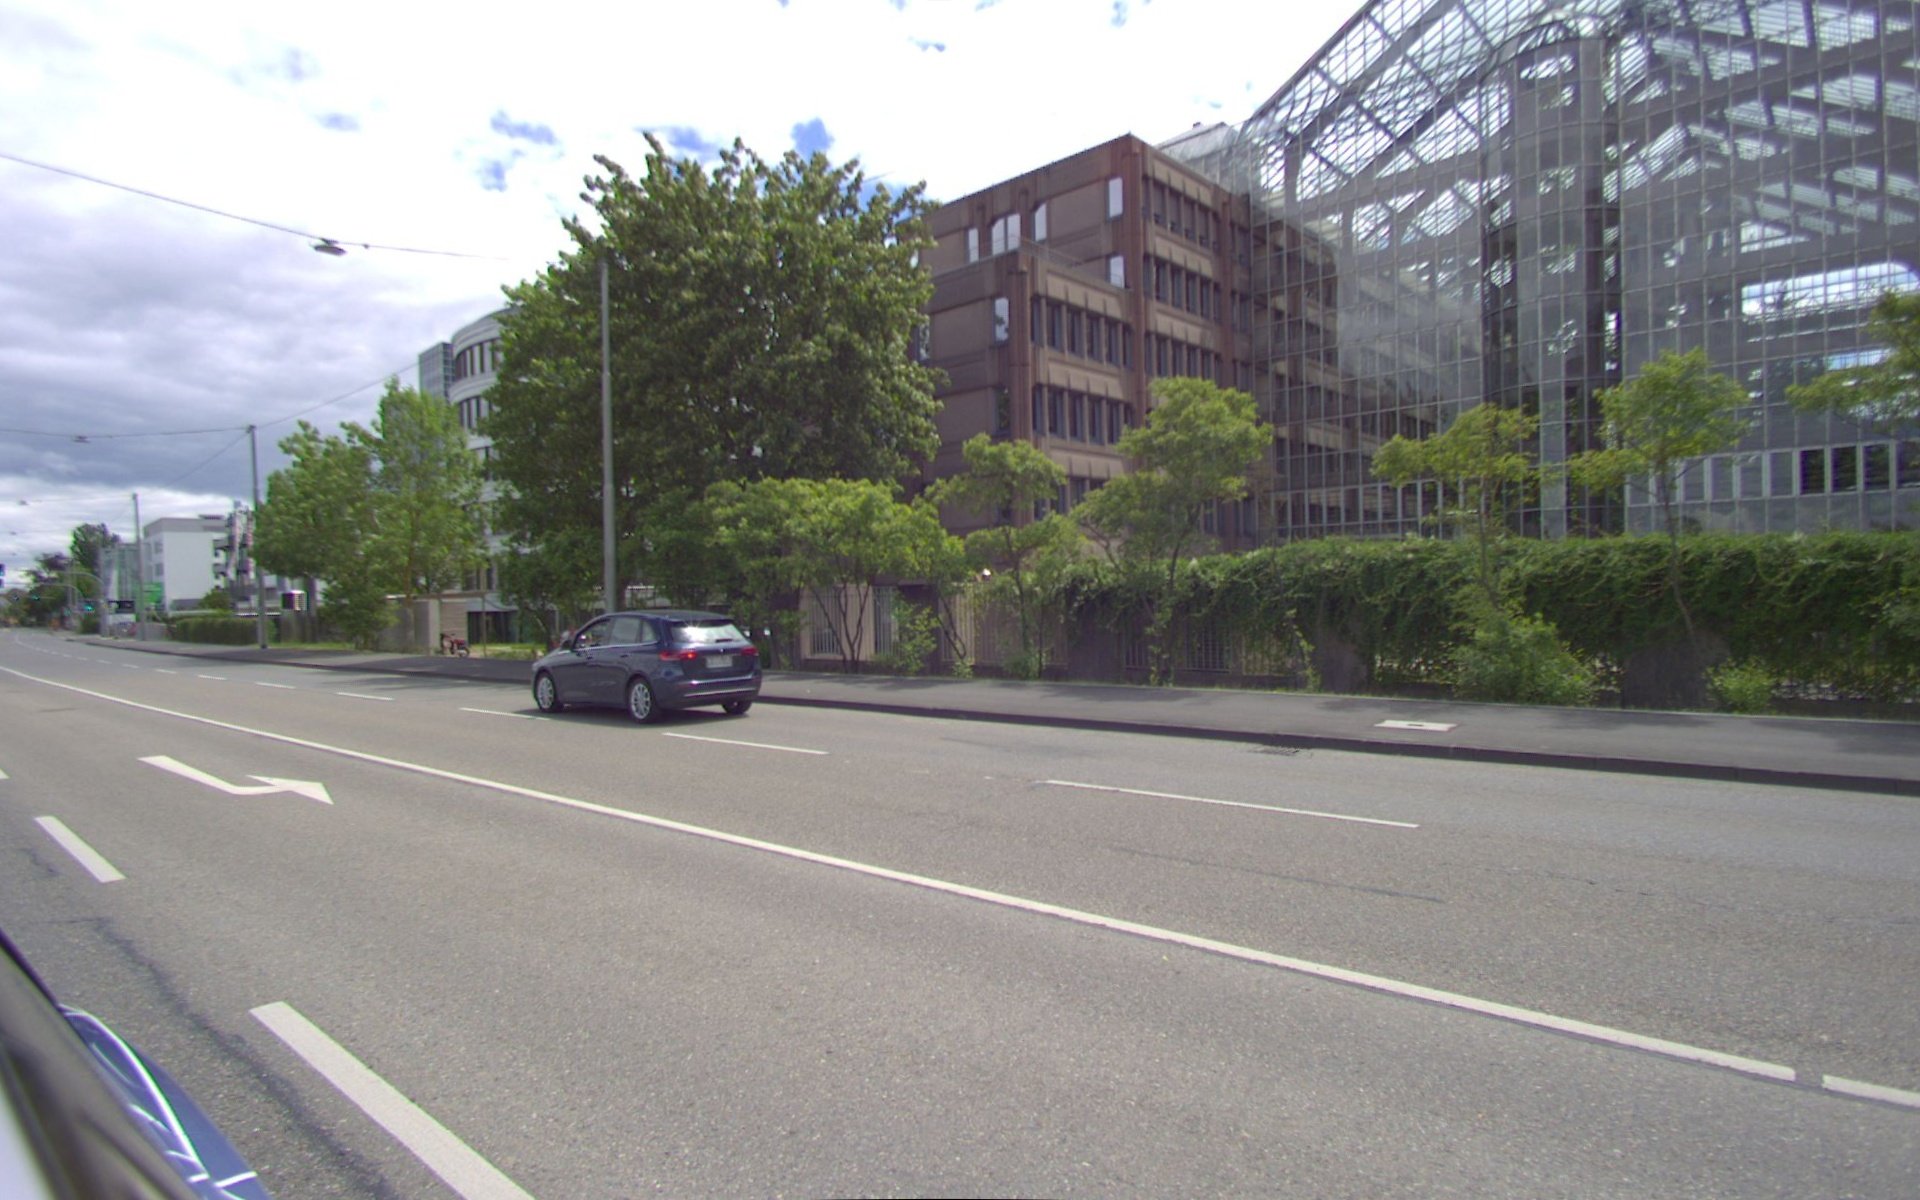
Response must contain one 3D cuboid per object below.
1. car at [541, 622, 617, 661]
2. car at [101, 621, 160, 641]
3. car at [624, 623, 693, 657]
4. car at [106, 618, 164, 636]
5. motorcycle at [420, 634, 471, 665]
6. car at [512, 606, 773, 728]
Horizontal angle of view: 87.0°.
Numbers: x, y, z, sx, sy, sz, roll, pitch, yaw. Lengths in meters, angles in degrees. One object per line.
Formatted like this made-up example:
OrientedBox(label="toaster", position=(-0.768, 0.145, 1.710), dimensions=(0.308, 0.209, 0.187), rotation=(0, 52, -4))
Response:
OrientedBox(label="car", position=(-19.781, 2.117, 52.501), dimensions=(3.994, 1.807, 1.845), rotation=(2, -1, 37))
OrientedBox(label="car", position=(-72.511, 2.737, 88.517), dimensions=(1.835, 1.623, 3.753), rotation=(-2, -1, 41))
OrientedBox(label="car", position=(-16.538, 2.153, 55.389), dimensions=(3.999, 1.736, 1.800), rotation=(-1, 0, 42))
OrientedBox(label="car", position=(-77.183, 2.545, 94.675), dimensions=(1.824, 1.342, 3.944), rotation=(-3, 1, 43))
OrientedBox(label="motorcycle", position=(-23.144, 2.213, 45.567), dimensions=(0.745, 1.254, 1.881), rotation=(-1, 0, 40))
OrientedBox(label="car", position=(-4.906, 0.920, 15.336), dimensions=(4.310, 1.597, 1.778), rotation=(-1, -1, 41))
